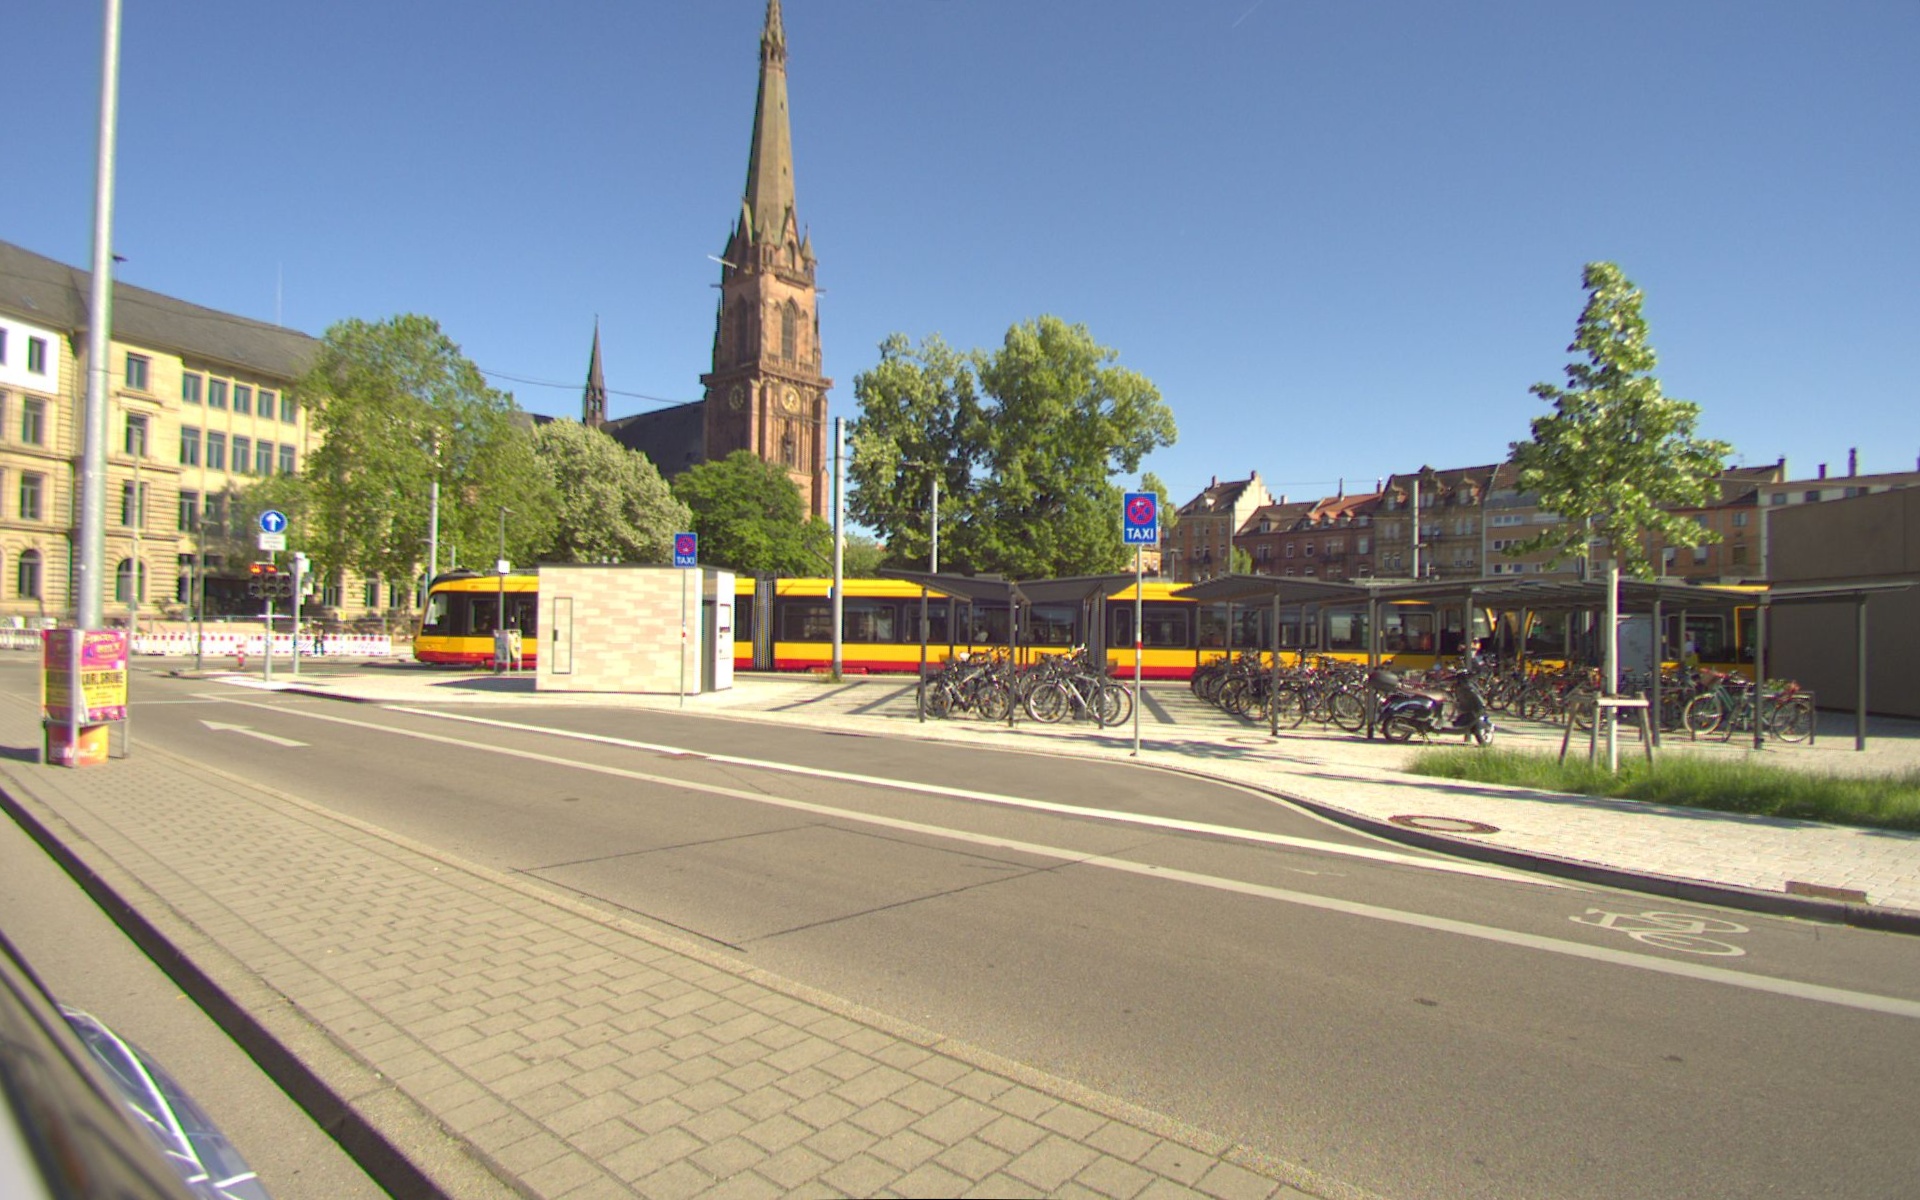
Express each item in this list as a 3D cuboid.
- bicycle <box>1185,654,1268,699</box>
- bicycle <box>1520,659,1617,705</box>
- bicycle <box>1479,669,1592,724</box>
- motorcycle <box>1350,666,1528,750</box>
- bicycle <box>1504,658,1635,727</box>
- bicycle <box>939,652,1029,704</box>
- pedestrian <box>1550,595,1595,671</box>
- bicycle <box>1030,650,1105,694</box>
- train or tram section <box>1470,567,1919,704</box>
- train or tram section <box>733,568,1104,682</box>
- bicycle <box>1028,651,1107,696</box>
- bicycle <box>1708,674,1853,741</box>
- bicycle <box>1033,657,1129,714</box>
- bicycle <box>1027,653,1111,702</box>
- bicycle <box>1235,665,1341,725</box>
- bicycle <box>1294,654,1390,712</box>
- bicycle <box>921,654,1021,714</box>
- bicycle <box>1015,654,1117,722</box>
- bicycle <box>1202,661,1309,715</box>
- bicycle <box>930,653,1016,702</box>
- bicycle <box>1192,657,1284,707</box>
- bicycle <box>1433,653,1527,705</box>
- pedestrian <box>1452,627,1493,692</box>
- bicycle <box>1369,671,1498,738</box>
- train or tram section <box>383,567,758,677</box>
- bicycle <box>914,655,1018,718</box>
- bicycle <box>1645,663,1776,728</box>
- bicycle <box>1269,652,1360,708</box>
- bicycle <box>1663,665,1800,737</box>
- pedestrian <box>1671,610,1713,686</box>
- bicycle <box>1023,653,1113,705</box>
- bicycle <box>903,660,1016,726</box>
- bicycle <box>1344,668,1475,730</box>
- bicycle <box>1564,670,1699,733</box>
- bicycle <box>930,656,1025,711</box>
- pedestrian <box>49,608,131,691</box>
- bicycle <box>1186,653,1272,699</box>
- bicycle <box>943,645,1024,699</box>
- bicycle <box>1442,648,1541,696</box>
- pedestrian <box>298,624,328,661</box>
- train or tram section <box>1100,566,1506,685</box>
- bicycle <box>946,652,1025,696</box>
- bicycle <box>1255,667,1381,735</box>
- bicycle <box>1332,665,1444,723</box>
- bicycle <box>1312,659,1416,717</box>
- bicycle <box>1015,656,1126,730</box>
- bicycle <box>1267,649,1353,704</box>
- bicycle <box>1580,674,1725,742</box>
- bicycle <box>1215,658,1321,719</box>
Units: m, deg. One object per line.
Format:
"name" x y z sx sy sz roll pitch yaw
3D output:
"bicycle" 6.249 1.789 23.800 1.808 1.015 0.627 0 -2 6
"bicycle" 14.051 1.884 23.407 1.808 1.015 0.627 0 -2 7
"bicycle" 11.260 1.876 19.842 1.809 1.015 0.627 0 -2 9
"motorcycle" 7.166 1.608 15.235 2.333 1.167 0.610 0 -2 7
"bicycle" 11.296 1.707 18.802 2.029 1.218 0.505 0 -2 8
"bicycle" 0.511 1.619 21.141 1.809 1.015 0.627 0 -2 9
"pedestrian" 15.388 0.832 25.439 0.700 1.869 0.751 2 -2 -38
"bicycle" 2.631 1.762 24.811 1.808 1.015 0.627 0 -2 7
"train or tram section" 21.436 0.971 28.701 12.179 3.628 2.748 0 -2 7
"train or tram section" -1.342 0.807 34.330 12.174 3.628 2.796 0 -2 6
"bicycle" 2.509 1.706 23.611 1.808 1.015 0.627 0 -2 7
"bicycle" 13.018 1.699 16.078 1.803 1.015 0.629 1 -2 -3
"bicycle" 2.319 1.639 19.542 1.808 1.015 0.745 0 -2 7
"bicycle" 2.376 1.691 22.125 1.808 1.015 0.627 0 -2 7
"bicycle" 5.851 1.689 18.134 1.731 1.015 0.547 0 -2 10
"bicycle" 8.109 1.749 21.529 1.808 1.170 0.627 0 -2 7
"bicycle" 0.211 1.547 18.767 1.809 1.059 0.571 0 -2 9
"bicycle" 1.908 1.581 18.277 1.808 1.157 0.627 0 -2 7
"bicycle" 5.947 1.764 20.433 1.978 1.015 0.628 0 -2 4
"bicycle" 0.288 1.694 22.173 1.809 1.015 0.627 0 -2 9
"bicycle" 5.968 1.760 21.807 1.805 1.015 0.629 0 -2 0
"bicycle" 11.999 1.818 23.404 1.809 1.140 0.627 0 -2 9
"pedestrian" 13.399 1.553 26.484 0.762 1.672 0.604 0 -2 4
"bicycle" 7.766 1.708 16.652 1.808 1.015 0.627 0 -2 7
"train or tram section" -13.558 0.749 35.590 12.382 3.628 2.796 0 -2 6
"bicycle" 0.114 1.541 18.238 1.809 1.074 0.627 0 -2 9
"bicycle" 13.589 1.720 18.361 1.808 1.101 0.627 0 -2 7
"bicycle" 7.927 1.771 22.680 1.808 1.198 0.647 0 -2 7
"bicycle" 12.989 1.692 17.066 1.805 1.155 0.629 0 -2 0
"pedestrian" 18.215 1.184 25.186 0.595 1.869 0.683 2 -2 -38
"bicycle" 2.227 1.613 20.850 1.808 1.015 0.627 0 -2 7
"bicycle" 0.005 1.587 17.376 1.847 1.015 0.699 2 -2 9
"bicycle" 7.917 1.734 17.878 2.003 1.015 0.627 0 -2 7
"bicycle" 11.601 1.746 17.527 1.872 1.004 0.499 0 -2 13
"bicycle" 0.359 1.639 19.986 1.809 1.015 0.627 0 -2 9
"pedestrian" -20.152 1.137 23.462 0.825 1.869 1.216 -1 -2 33
"bicycle" 6.120 1.724 23.112 1.807 1.015 0.628 0 -2 5
"bicycle" 0.560 1.650 23.416 1.809 1.188 0.627 0 -2 9
"bicycle" 11.685 1.580 22.308 1.809 1.015 0.627 0 -2 9
"pedestrian" -31.550 2.058 49.345 0.920 1.754 0.807 1 -2 -8
"train or tram section" 10.781 0.804 33.035 12.174 3.628 2.828 0 -2 6
"bicycle" 0.618 1.754 24.116 1.809 1.015 0.627 0 -2 9
"bicycle" 5.976 1.680 16.980 1.871 1.050 0.688 0 -2 9
"bicycle" 7.999 1.752 18.972 1.808 1.015 0.627 0 -2 7
"bicycle" 8.073 1.750 20.264 1.808 1.088 0.627 0 -2 7
"bicycle" 1.863 1.559 17.135 1.808 1.167 0.627 1 -2 7
"bicycle" 8.234 1.788 23.878 1.808 1.242 0.627 0 -2 7
"bicycle" 11.157 1.726 16.351 1.809 1.015 0.627 0 -2 9
"bicycle" 5.875 1.686 19.412 1.859 1.101 0.626 0 -2 8
